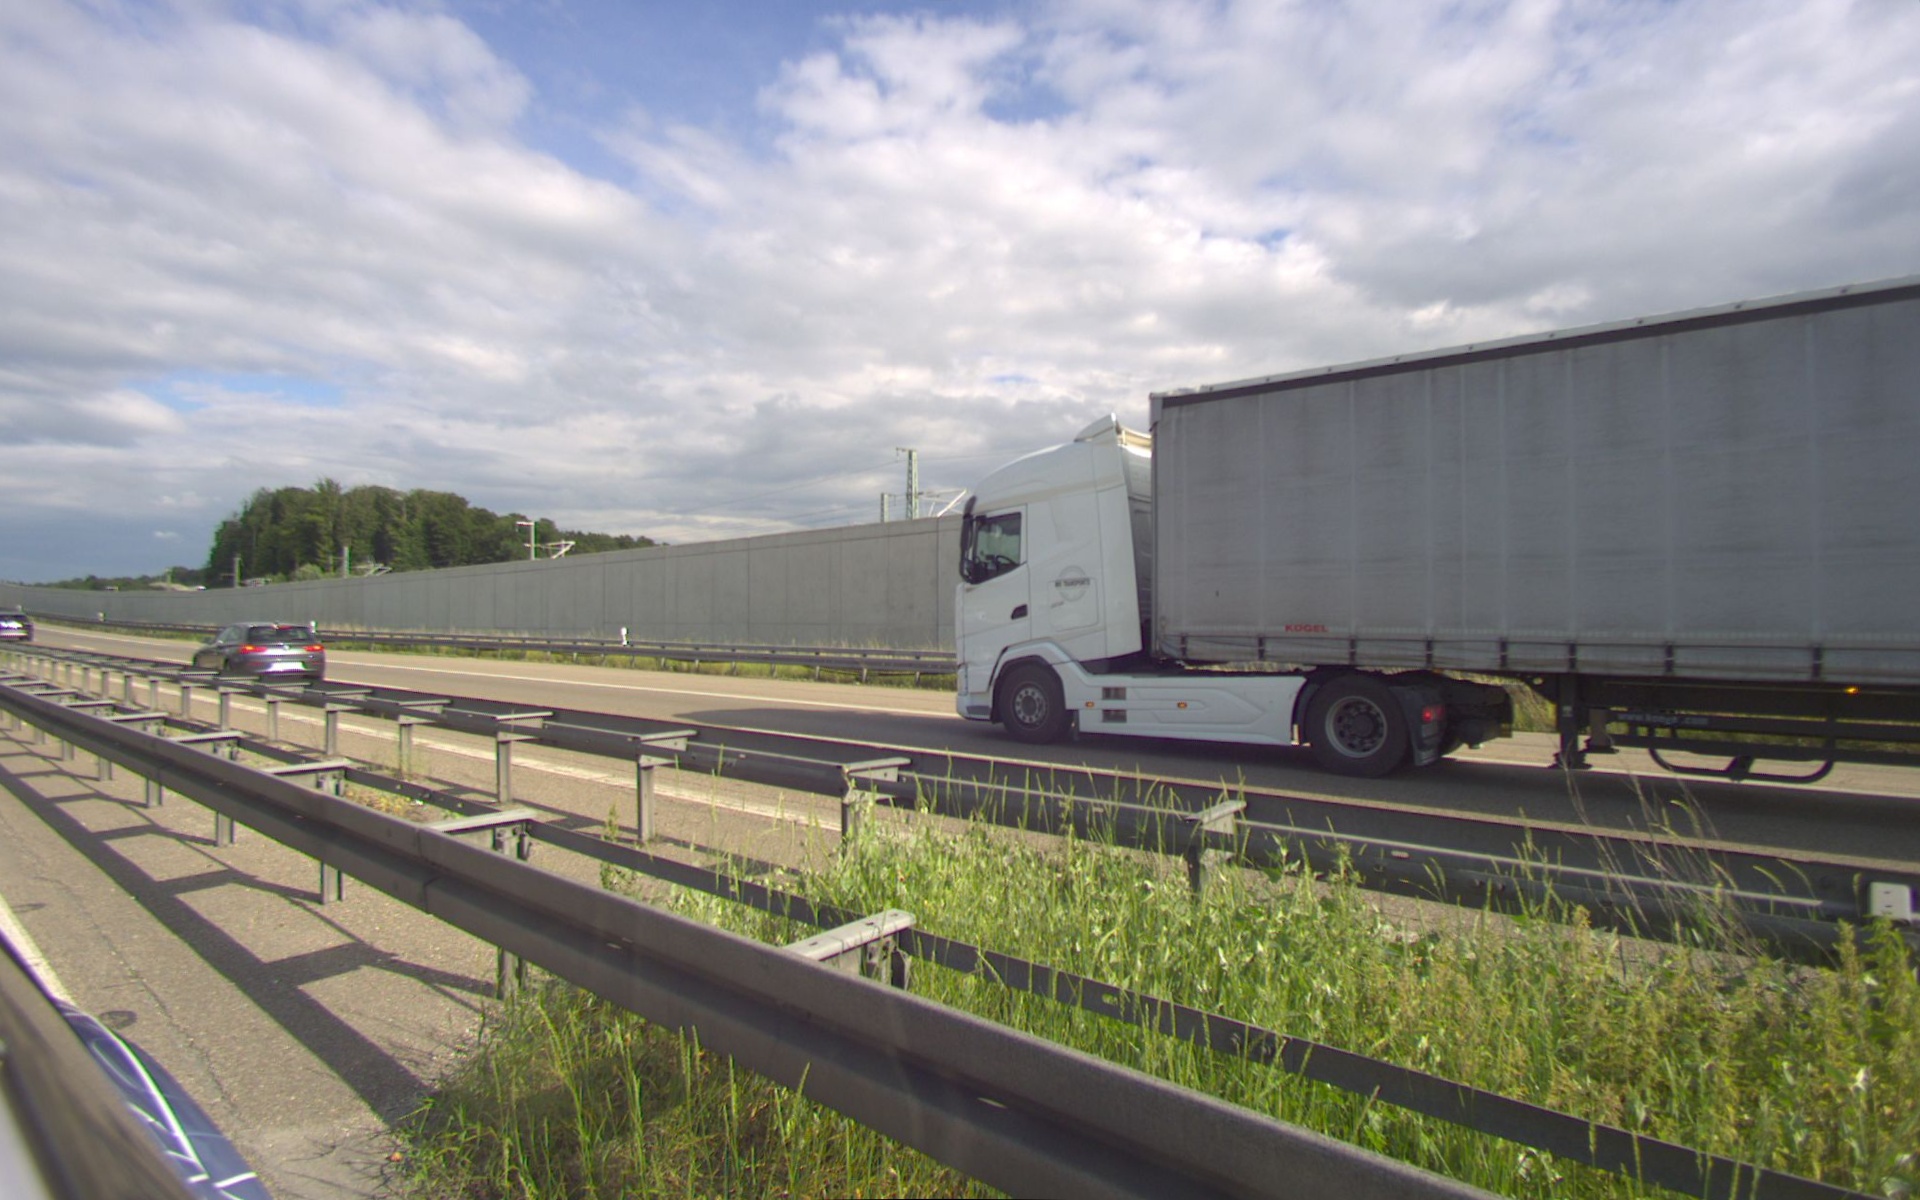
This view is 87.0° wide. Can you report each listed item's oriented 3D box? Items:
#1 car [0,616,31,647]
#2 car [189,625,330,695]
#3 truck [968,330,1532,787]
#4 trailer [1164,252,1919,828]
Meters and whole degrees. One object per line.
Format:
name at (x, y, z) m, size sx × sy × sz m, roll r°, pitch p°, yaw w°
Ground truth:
car at (-52.110, 1.708, 55.179) m, size 4.447 × 1.607 × 1.698 m, roll -1°, pitch -1°, yaw 41°
car at (-15.484, 1.259, 22.307) m, size 3.894 × 1.411 × 1.616 m, roll -1°, pitch -1°, yaw 41°
truck at (3.172, -0.309, 12.016) m, size 5.876 × 4.099 × 2.657 m, roll -1°, pitch -2°, yaw 41°
trailer at (8.307, -0.420, 7.573) m, size 13.783 × 4.069 × 2.656 m, roll -1°, pitch -2°, yaw 41°
